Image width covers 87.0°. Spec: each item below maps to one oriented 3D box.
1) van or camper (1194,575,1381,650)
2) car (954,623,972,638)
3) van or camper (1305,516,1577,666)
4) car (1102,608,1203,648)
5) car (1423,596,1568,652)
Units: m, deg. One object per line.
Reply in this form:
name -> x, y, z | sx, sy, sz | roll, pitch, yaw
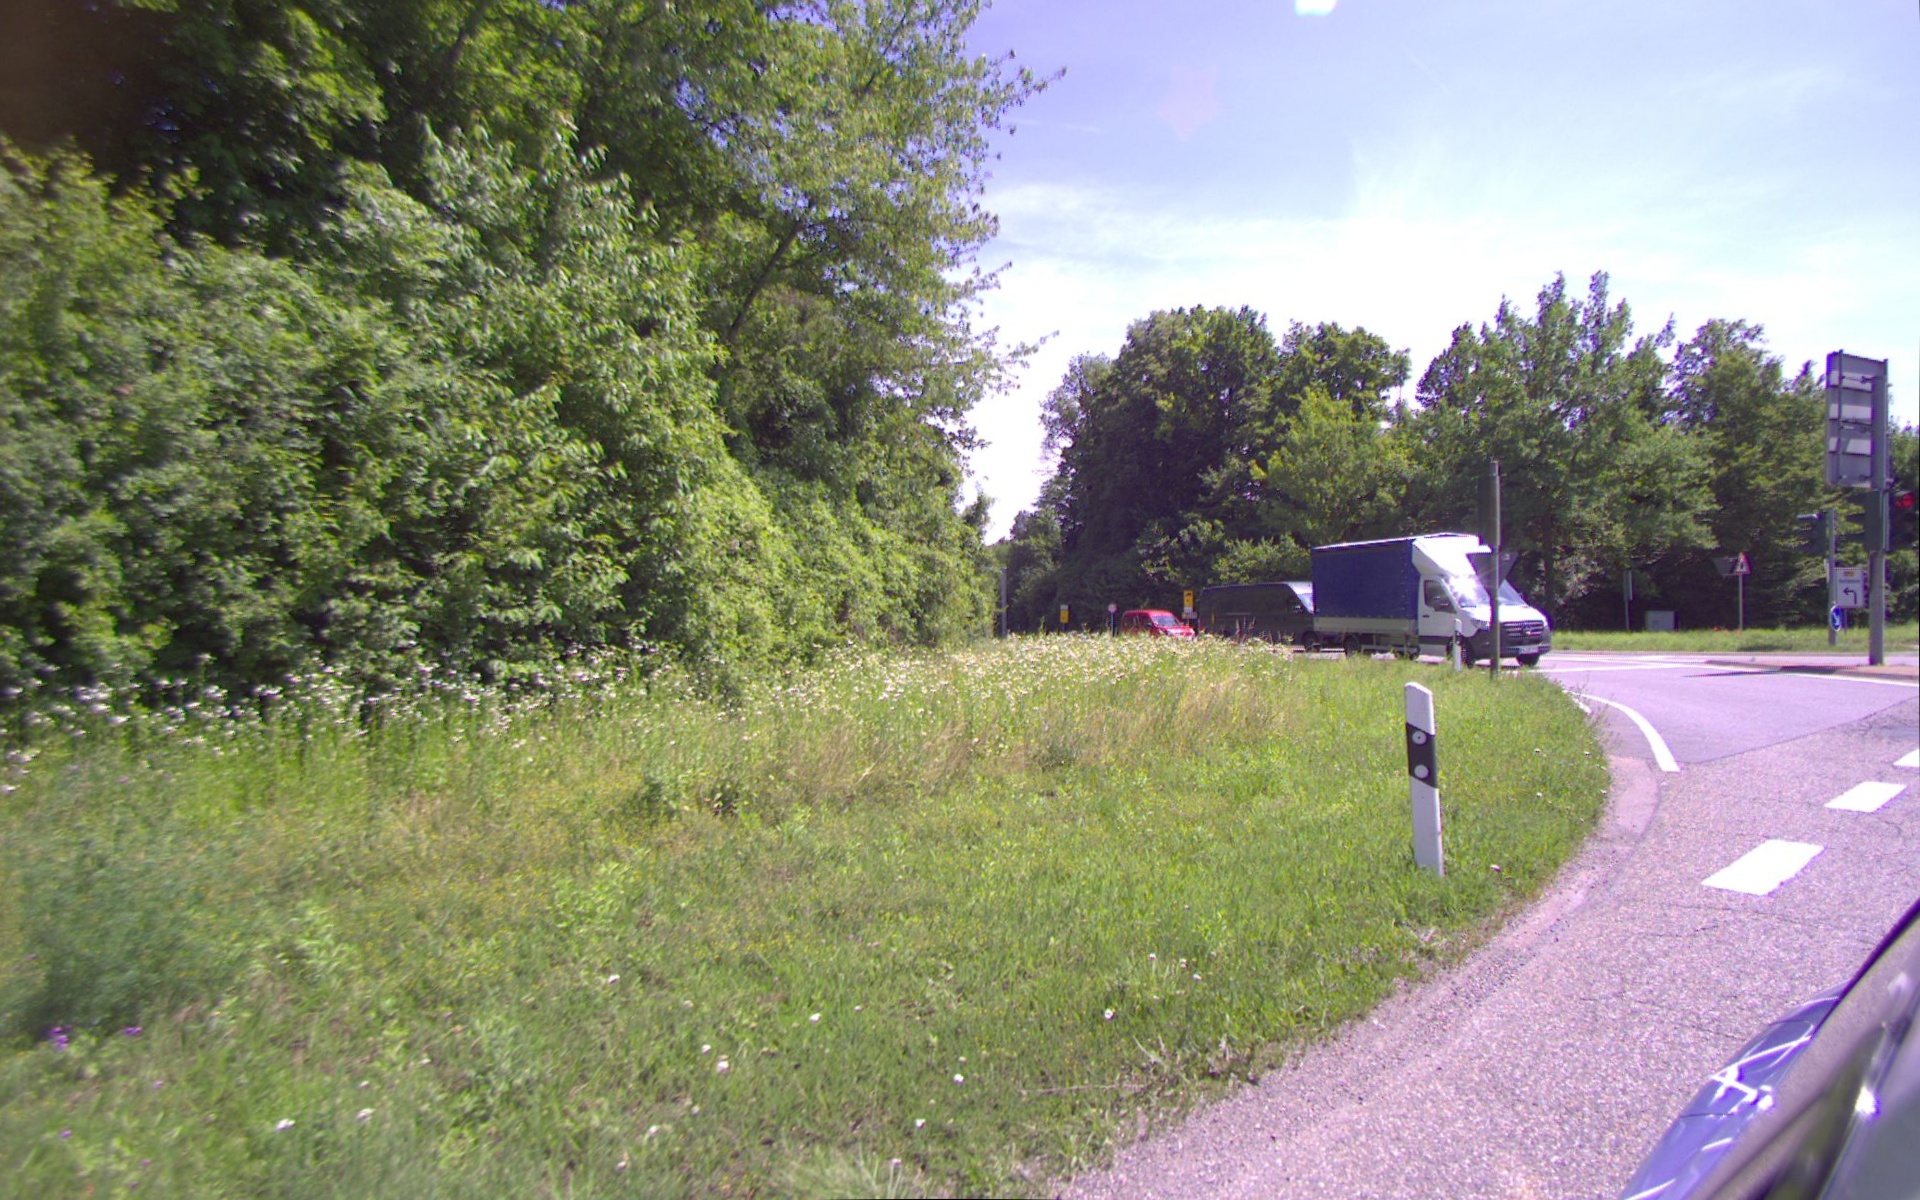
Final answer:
van or camper -> 11.867, 0.532, 37.464 | 2.359, 2.509, 7.246 | 0, -2, -23
car -> 0.348, 3.577, 120.041 | 1.962, 1.683, 4.000 | -1, -1, -1
van or camper -> 11.805, -0.174, 25.784 | 2.060, 3.253, 7.266 | -1, 0, -13
car -> 8.534, 1.213, 45.360 | 1.812, 1.628, 5.129 | -1, 0, -24
car -> 15.568, 0.711, 29.598 | 1.655, 1.484, 3.363 | -1, -2, -26
